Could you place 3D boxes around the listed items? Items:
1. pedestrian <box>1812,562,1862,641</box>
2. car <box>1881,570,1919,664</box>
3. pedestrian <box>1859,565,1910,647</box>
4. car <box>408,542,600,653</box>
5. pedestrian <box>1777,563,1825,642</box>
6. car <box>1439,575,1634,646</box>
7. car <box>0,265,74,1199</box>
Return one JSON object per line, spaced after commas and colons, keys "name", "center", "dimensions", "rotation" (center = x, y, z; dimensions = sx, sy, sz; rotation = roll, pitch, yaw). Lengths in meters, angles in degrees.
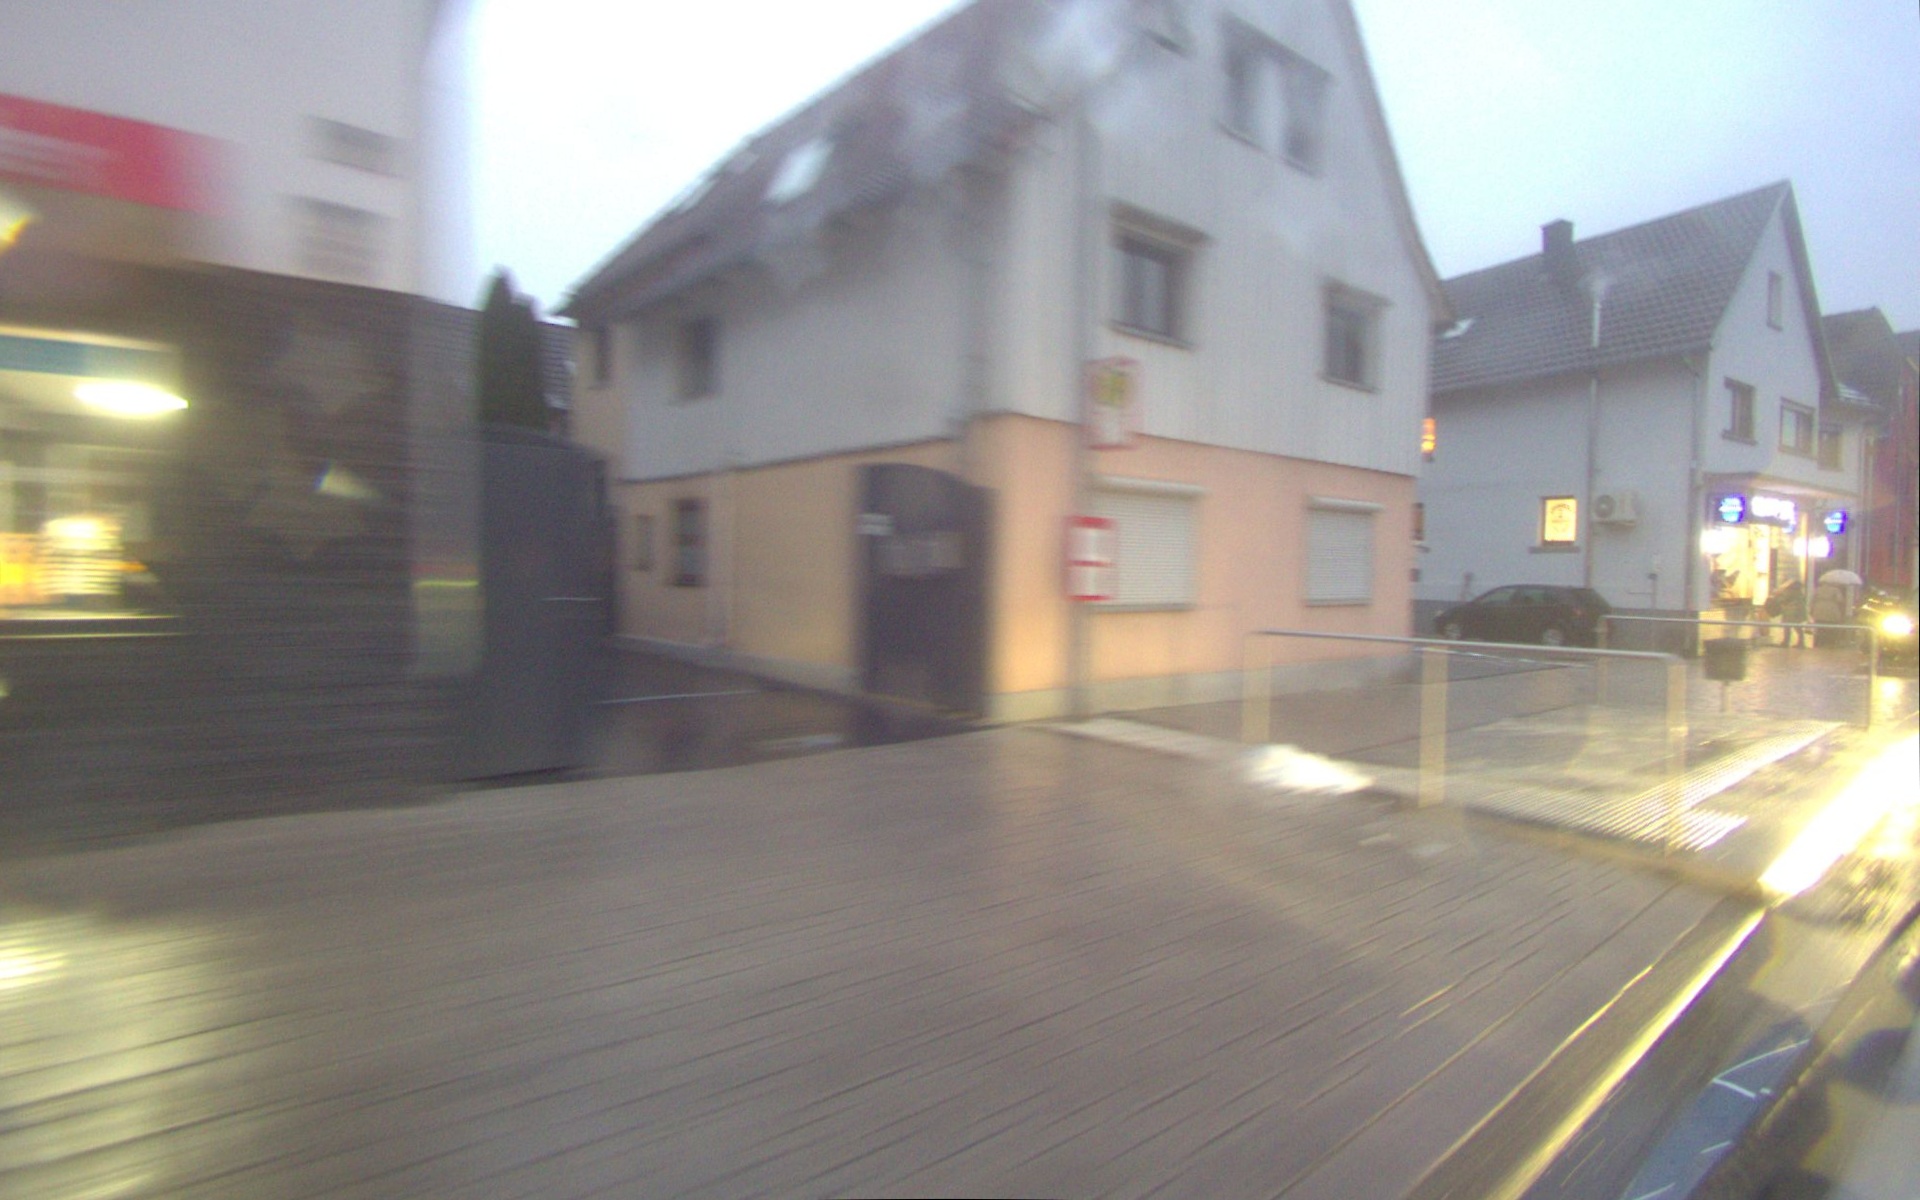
{"name": "pedestrian", "center": [20.695, 0.037, 23.890], "dimensions": [0.498, 1.819, 0.652], "rotation": [1, 2, -28]}
{"name": "car", "center": [20.417, 0.338, 20.508], "dimensions": [4.440, 1.806, 1.998], "rotation": [0, 2, -40]}
{"name": "pedestrian", "center": [20.314, 0.124, 22.243], "dimensions": [0.459, 1.742, 0.651], "rotation": [1, 2, -33]}
{"name": "car", "center": [-6.956, -0.118, 15.230], "dimensions": [1.631, 1.410, 3.997], "rotation": [0, 3, -39]}
{"name": "pedestrian", "center": [19.121, 0.046, 23.011], "dimensions": [0.638, 1.742, 0.610], "rotation": [1, 2, -34]}
{"name": "car", "center": [13.212, 0.195, 23.394], "dimensions": [1.627, 1.403, 3.568], "rotation": [1, 2, -27]}
{"name": "car", "center": [-3.126, 0.431, 0.175], "dimensions": [4.380, 1.681, 1.979], "rotation": [0, 2, -39]}
